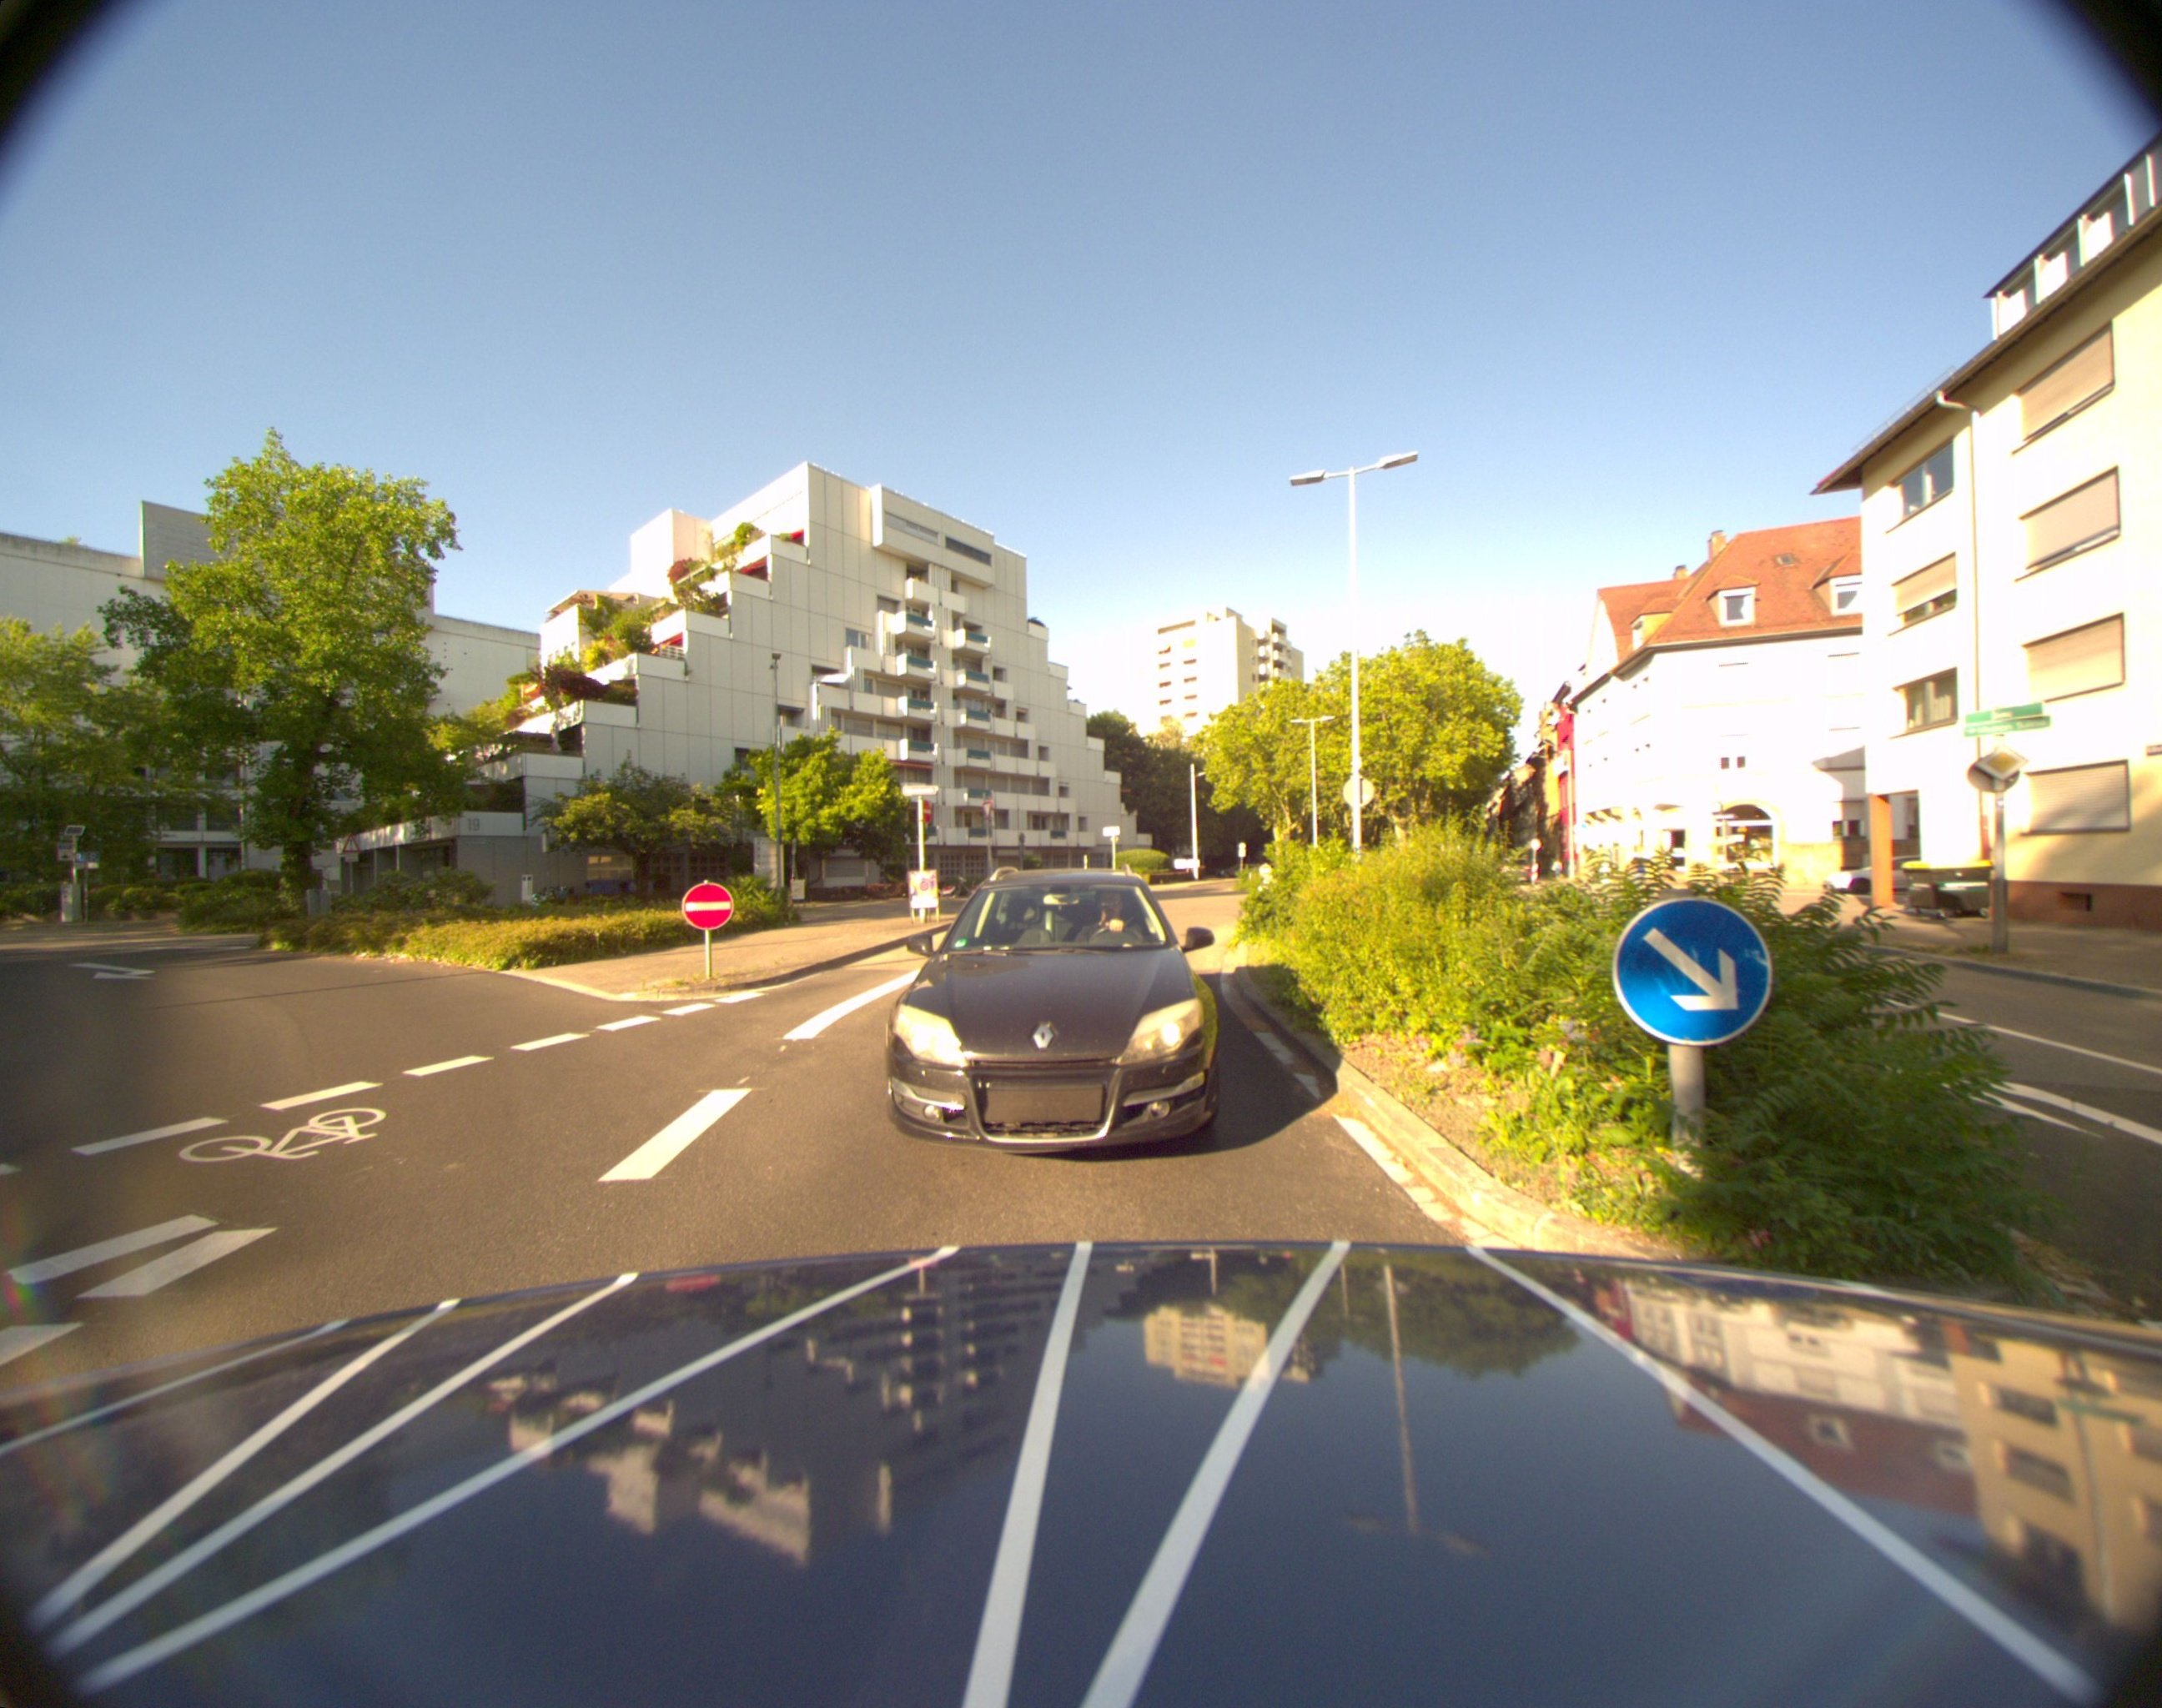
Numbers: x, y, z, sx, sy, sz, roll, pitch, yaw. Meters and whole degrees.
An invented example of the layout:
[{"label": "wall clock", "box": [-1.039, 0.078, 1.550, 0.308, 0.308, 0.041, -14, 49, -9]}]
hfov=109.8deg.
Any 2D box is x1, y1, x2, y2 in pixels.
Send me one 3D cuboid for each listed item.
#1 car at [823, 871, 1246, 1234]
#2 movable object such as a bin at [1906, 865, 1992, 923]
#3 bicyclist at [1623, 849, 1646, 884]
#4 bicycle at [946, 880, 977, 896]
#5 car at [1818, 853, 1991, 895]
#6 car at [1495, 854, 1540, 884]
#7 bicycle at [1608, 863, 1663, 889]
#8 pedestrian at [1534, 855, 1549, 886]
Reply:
[{"label": "car", "box": [-0.193, 0.952, 5.705, 1.844, 1.536, 4.525, -3, -1, 0]}, {"label": "movable object such as a bin", "box": [20.070, 0.893, 17.604, 1.032, 1.278, 1.064, -1, 0, 31]}, {"label": "bicyclist", "box": [24.501, 0.559, 33.635, 0.749, 1.544, 0.631, -1, 0, 30]}, {"label": "bicycle", "box": [-6.380, 1.824, 40.667, 1.575, 0.780, 0.464, -1, 0, -3]}, {"label": "car", "box": [31.339, 0.751, 29.116, 4.194, 1.502, 1.805, -1, 0, 34]}, {"label": "car", "box": [27.385, 0.920, 47.774, 1.895, 1.782, 4.006, -1, 0, 21]}, {"label": "bicycle", "box": [24.528, 0.976, 33.636, 1.865, 1.083, 0.629, -1, 0, 29]}, {"label": "pedestrian", "box": [25.940, 0.916, 42.792, 0.672, 1.701, 0.714, -1, 0, 30]}]
